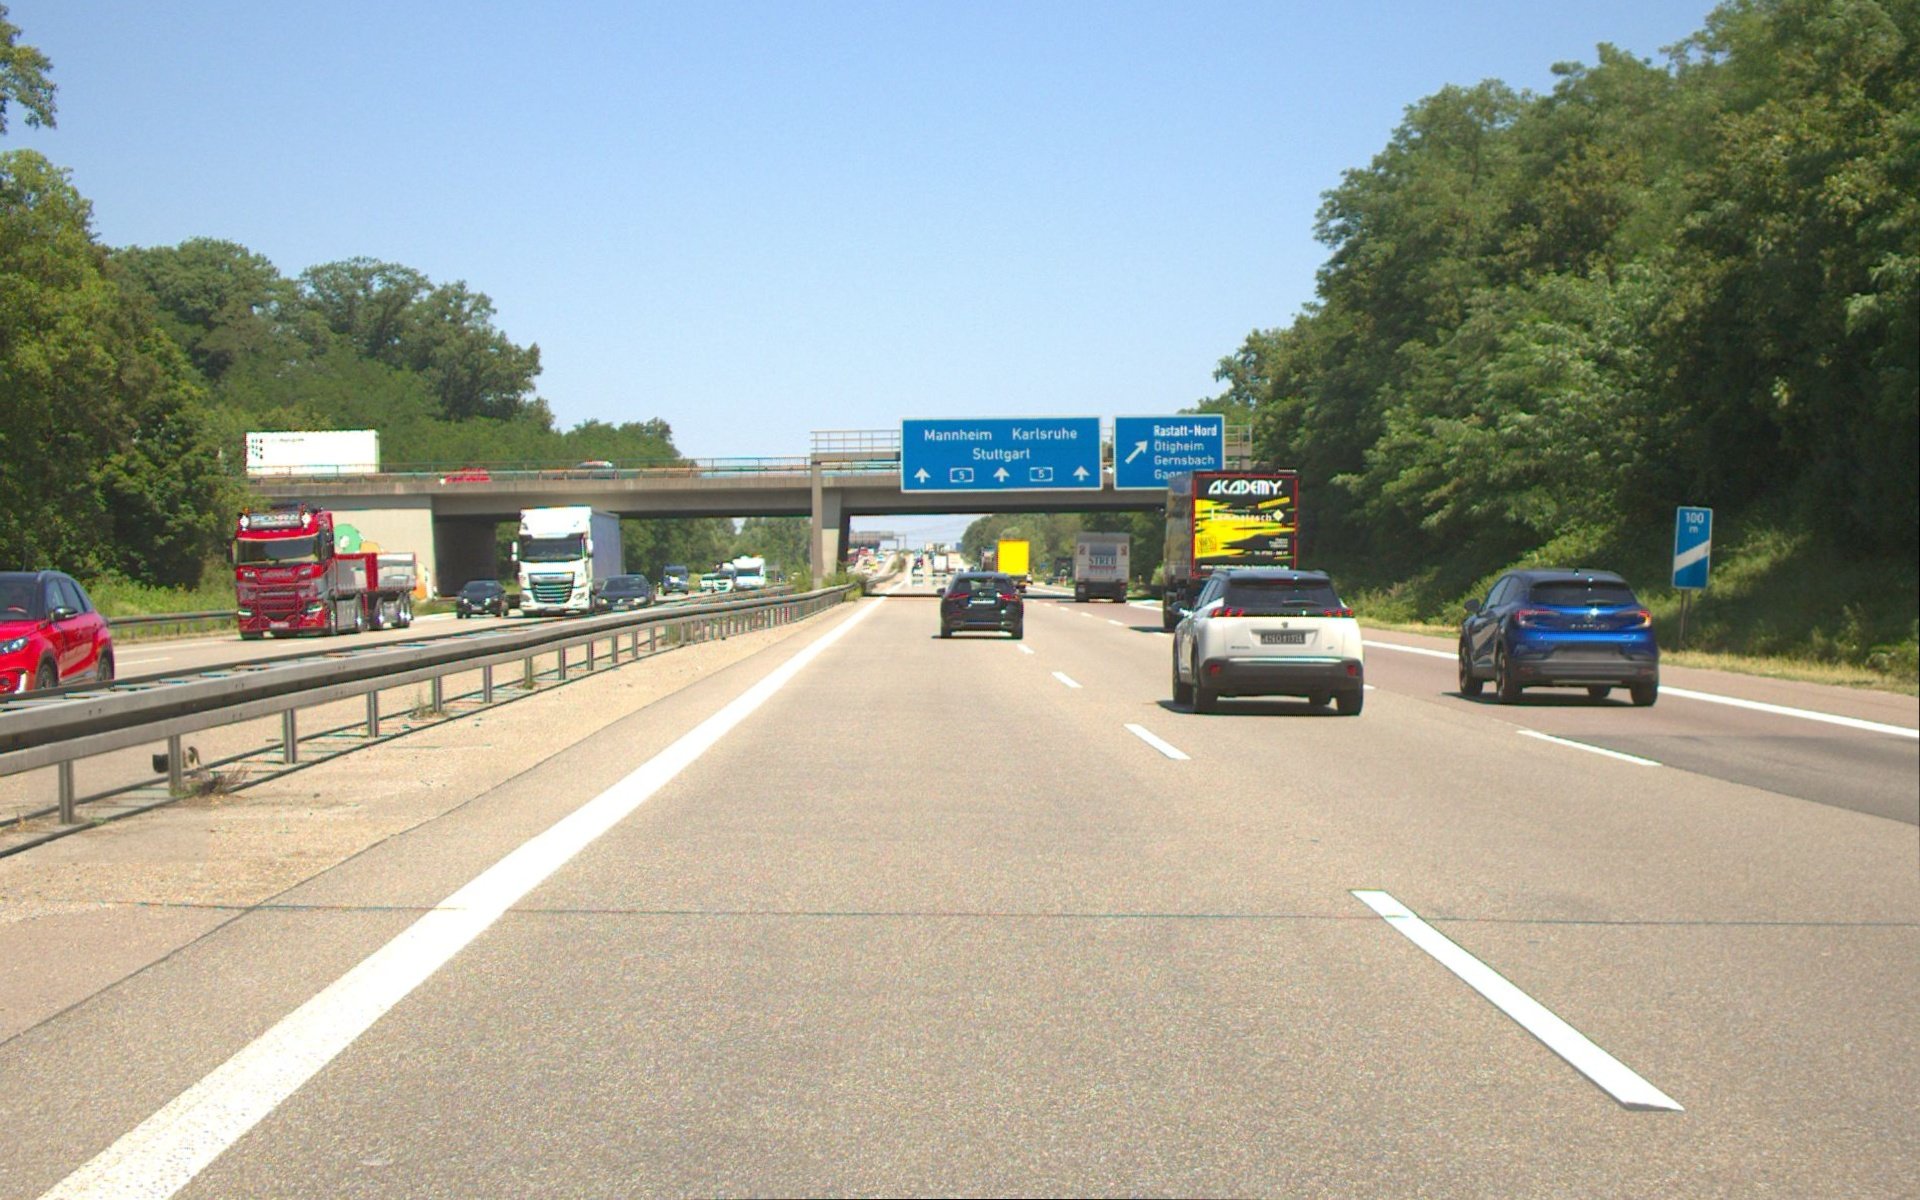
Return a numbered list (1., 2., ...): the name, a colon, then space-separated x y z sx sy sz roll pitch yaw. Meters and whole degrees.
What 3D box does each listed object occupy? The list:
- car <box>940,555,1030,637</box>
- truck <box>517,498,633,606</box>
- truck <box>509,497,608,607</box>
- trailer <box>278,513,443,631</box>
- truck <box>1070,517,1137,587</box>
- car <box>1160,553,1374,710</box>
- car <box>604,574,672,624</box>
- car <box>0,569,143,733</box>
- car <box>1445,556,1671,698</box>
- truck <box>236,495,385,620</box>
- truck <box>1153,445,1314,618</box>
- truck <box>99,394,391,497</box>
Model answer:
1. car: 0.516 -0.090 74.666 1.827 1.700 4.000 1 0 -1
2. truck: -15.185 -1.835 136.578 2.986 4.005 13.937 1 0 0
3. truck: -15.127 -1.801 129.826 2.986 4.005 6.041 1 0 0
4. trailer: -18.376 -0.834 106.302 2.779 3.382 13.290 1 0 0
5. truck: 7.104 -2.296 169.083 3.028 3.308 10.769 1 0 4
6. car: 3.275 0.309 37.539 1.827 1.602 4.809 0 0 -1
7. car: -10.490 -0.043 112.304 1.807 1.585 4.669 1 0 0
8. car: -9.874 0.468 35.516 1.731 1.579 4.644 1 0 0
9. car: 6.983 0.293 40.560 1.870 1.551 4.201 1 0 -1
10. truck: -18.343 -1.179 97.516 2.749 3.382 7.662 1 0 0
11. truck: 6.829 -1.652 87.373 2.975 4.023 10.982 2 0 -1
12. truck: -41.682 -8.995 200.981 16.457 5.546 3.175 1 0 -7
